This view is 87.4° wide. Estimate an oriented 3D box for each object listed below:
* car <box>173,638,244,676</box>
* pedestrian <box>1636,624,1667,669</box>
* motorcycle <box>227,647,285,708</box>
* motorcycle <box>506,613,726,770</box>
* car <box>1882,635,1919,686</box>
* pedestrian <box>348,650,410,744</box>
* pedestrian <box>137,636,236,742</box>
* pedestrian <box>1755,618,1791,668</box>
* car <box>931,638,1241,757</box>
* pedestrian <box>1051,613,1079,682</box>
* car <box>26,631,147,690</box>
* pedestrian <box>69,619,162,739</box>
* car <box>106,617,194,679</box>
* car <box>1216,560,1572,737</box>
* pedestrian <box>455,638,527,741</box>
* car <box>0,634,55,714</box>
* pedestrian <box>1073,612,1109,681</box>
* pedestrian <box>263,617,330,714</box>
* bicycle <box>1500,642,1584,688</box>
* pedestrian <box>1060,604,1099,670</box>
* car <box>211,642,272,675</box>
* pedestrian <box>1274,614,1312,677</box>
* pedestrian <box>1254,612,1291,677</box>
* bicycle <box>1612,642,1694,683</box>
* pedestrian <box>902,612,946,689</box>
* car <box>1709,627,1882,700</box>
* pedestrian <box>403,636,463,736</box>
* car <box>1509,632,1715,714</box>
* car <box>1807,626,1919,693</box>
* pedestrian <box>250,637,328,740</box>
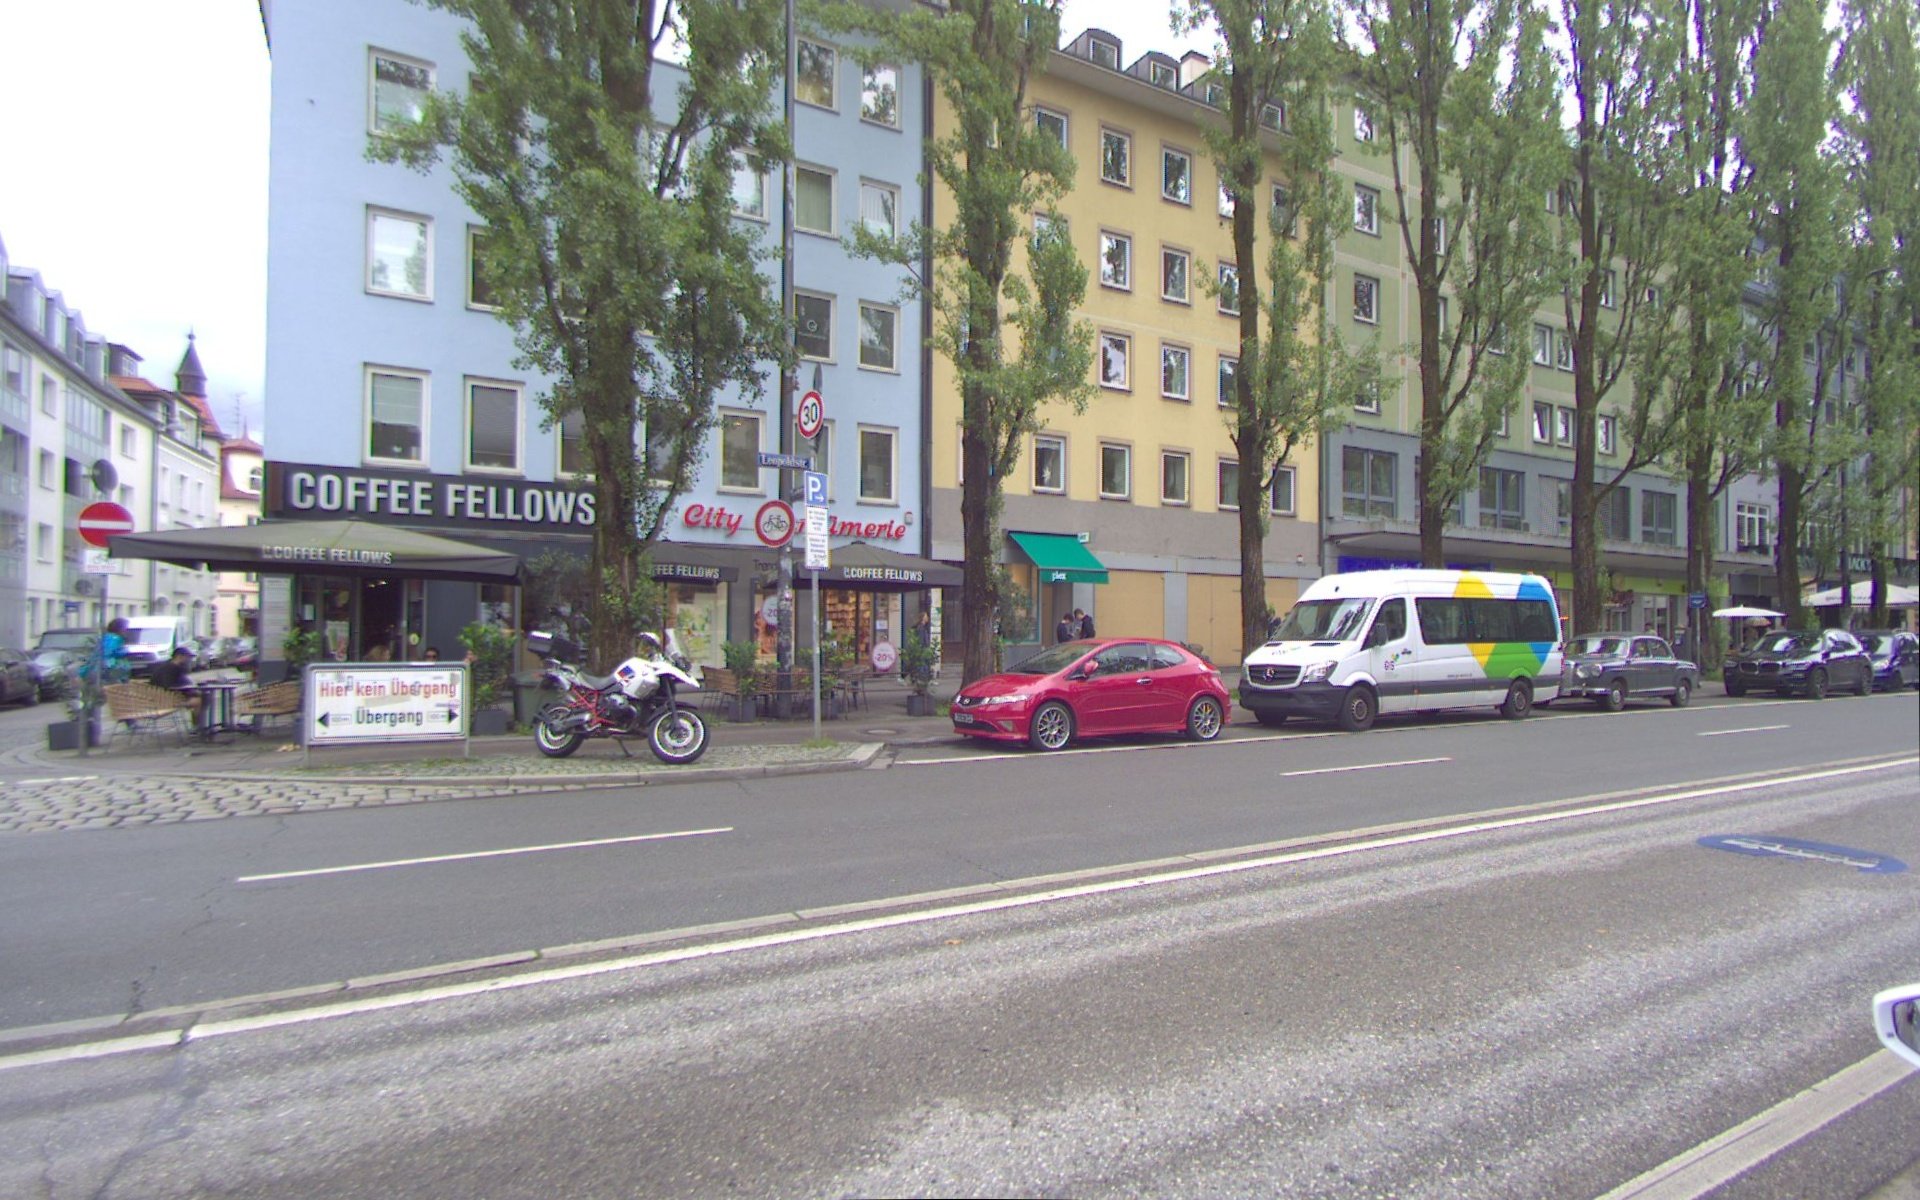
[{"bbox_3d":[-37.653,2.844,50.452,1.957,1.789,4.559,1,-3,-25],"label":"car"},{"bbox_3d":[26.469,1.783,38.449,0.667,1.708,0.753,2,-3,-29],"label":"pedestrian"},{"bbox_3d":[-15.566,1.666,22.269,0.729,1.219,2.748,-1,-1,-28],"label":"motorcycle"},{"bbox_3d":[-3.770,0.948,11.000,2.301,1.584,0.715,0,-1,18],"label":"motorcycle"},{"bbox_3d":[30.068,1.802,30.542,4.299,1.508,1.790,1,-3,-30],"label":"car"},{"bbox_3d":[-7.819,1.285,13.523,0.692,1.198,0.811,1,-2,-31],"label":"pedestrian"},{"bbox_3d":[-10.543,1.189,13.727,0.938,1.380,0.695,1,-2,-27],"label":"pedestrian"},{"bbox_3d":[28.406,1.509,35.101,0.667,1.708,0.753,2,-3,-29],"label":"pedestrian"},{"bbox_3d":[1.799,1.264,14.009,4.099,1.438,1.729,1,-3,-30],"label":"car"},{"bbox_3d":[2.563,1.163,24.552,0.553,1.657,0.699,0,-2,-6],"label":"pedestrian"},{"bbox_3d":[-28.245,1.945,32.652,2.093,1.789,4.551,1,-3,-30],"label":"car"},{"bbox_3d":[-12.239,1.123,14.567,0.690,1.668,0.944,-2,-2,44],"label":"pedestrian"},{"bbox_3d":[-32.970,1.966,41.042,1.959,2.396,4.554,1,-3,-29],"label":"car"},{"bbox_3d":[7.690,0.820,17.449,6.831,2.601,1.996,1,-3,-30],"label":"car"},{"bbox_3d":[-6.536,1.222,13.997,0.838,1.380,0.694,1,-2,-31],"label":"pedestrian"},{"bbox_3d":[-23.463,1.745,23.857,1.960,1.789,4.551,1,-3,-30],"label":"car"},{"bbox_3d":[3.177,1.125,24.378,0.713,1.657,0.699,0,-2,-6],"label":"pedestrian"},{"bbox_3d":[-12.726,1.243,19.275,0.933,1.796,0.699,-1,-2,30],"label":"pedestrian"},{"bbox_3d":[15.795,1.746,27.301,0.710,1.110,1.862,1,1,-27],"label":"bicycle"},{"bbox_3d":[3.057,0.957,25.742,0.718,1.657,0.695,1,-2,-28],"label":"pedestrian"},{"bbox_3d":[-39.998,3.249,56.057,1.957,1.789,4.559,1,-3,-25],"label":"car"},{"bbox_3d":[9.307,1.270,28.112,0.717,1.722,0.695,1,-2,-25],"label":"pedestrian"},{"bbox_3d":[8.946,1.263,28.784,0.717,1.818,0.695,1,-2,-25],"label":"pedestrian"},{"bbox_3d":[21.083,1.886,30.597,0.712,1.110,1.933,1,1,-36],"label":"bicycle"},{"bbox_3d":[-0.825,1.140,22.897,0.775,1.708,0.753,1,-2,-27],"label":"pedestrian"},{"bbox_3d":[20.917,1.551,25.114,4.557,1.686,1.858,1,-3,-30],"label":"car"},{"bbox_3d":[-7.498,1.197,14.287,0.692,1.380,0.709,1,-2,-32],"label":"pedestrian"},{"bbox_3d":[13.732,1.476,21.115,4.362,1.572,1.858,1,-3,-30],"label":"car"},{"bbox_3d":[25.418,1.631,27.993,3.880,1.743,1.700,1,-3,-33],"label":"car"},{"bbox_3d":[-9.413,1.217,14.118,0.808,1.380,0.695,1,-2,-27],"label":"pedestrian"}]
